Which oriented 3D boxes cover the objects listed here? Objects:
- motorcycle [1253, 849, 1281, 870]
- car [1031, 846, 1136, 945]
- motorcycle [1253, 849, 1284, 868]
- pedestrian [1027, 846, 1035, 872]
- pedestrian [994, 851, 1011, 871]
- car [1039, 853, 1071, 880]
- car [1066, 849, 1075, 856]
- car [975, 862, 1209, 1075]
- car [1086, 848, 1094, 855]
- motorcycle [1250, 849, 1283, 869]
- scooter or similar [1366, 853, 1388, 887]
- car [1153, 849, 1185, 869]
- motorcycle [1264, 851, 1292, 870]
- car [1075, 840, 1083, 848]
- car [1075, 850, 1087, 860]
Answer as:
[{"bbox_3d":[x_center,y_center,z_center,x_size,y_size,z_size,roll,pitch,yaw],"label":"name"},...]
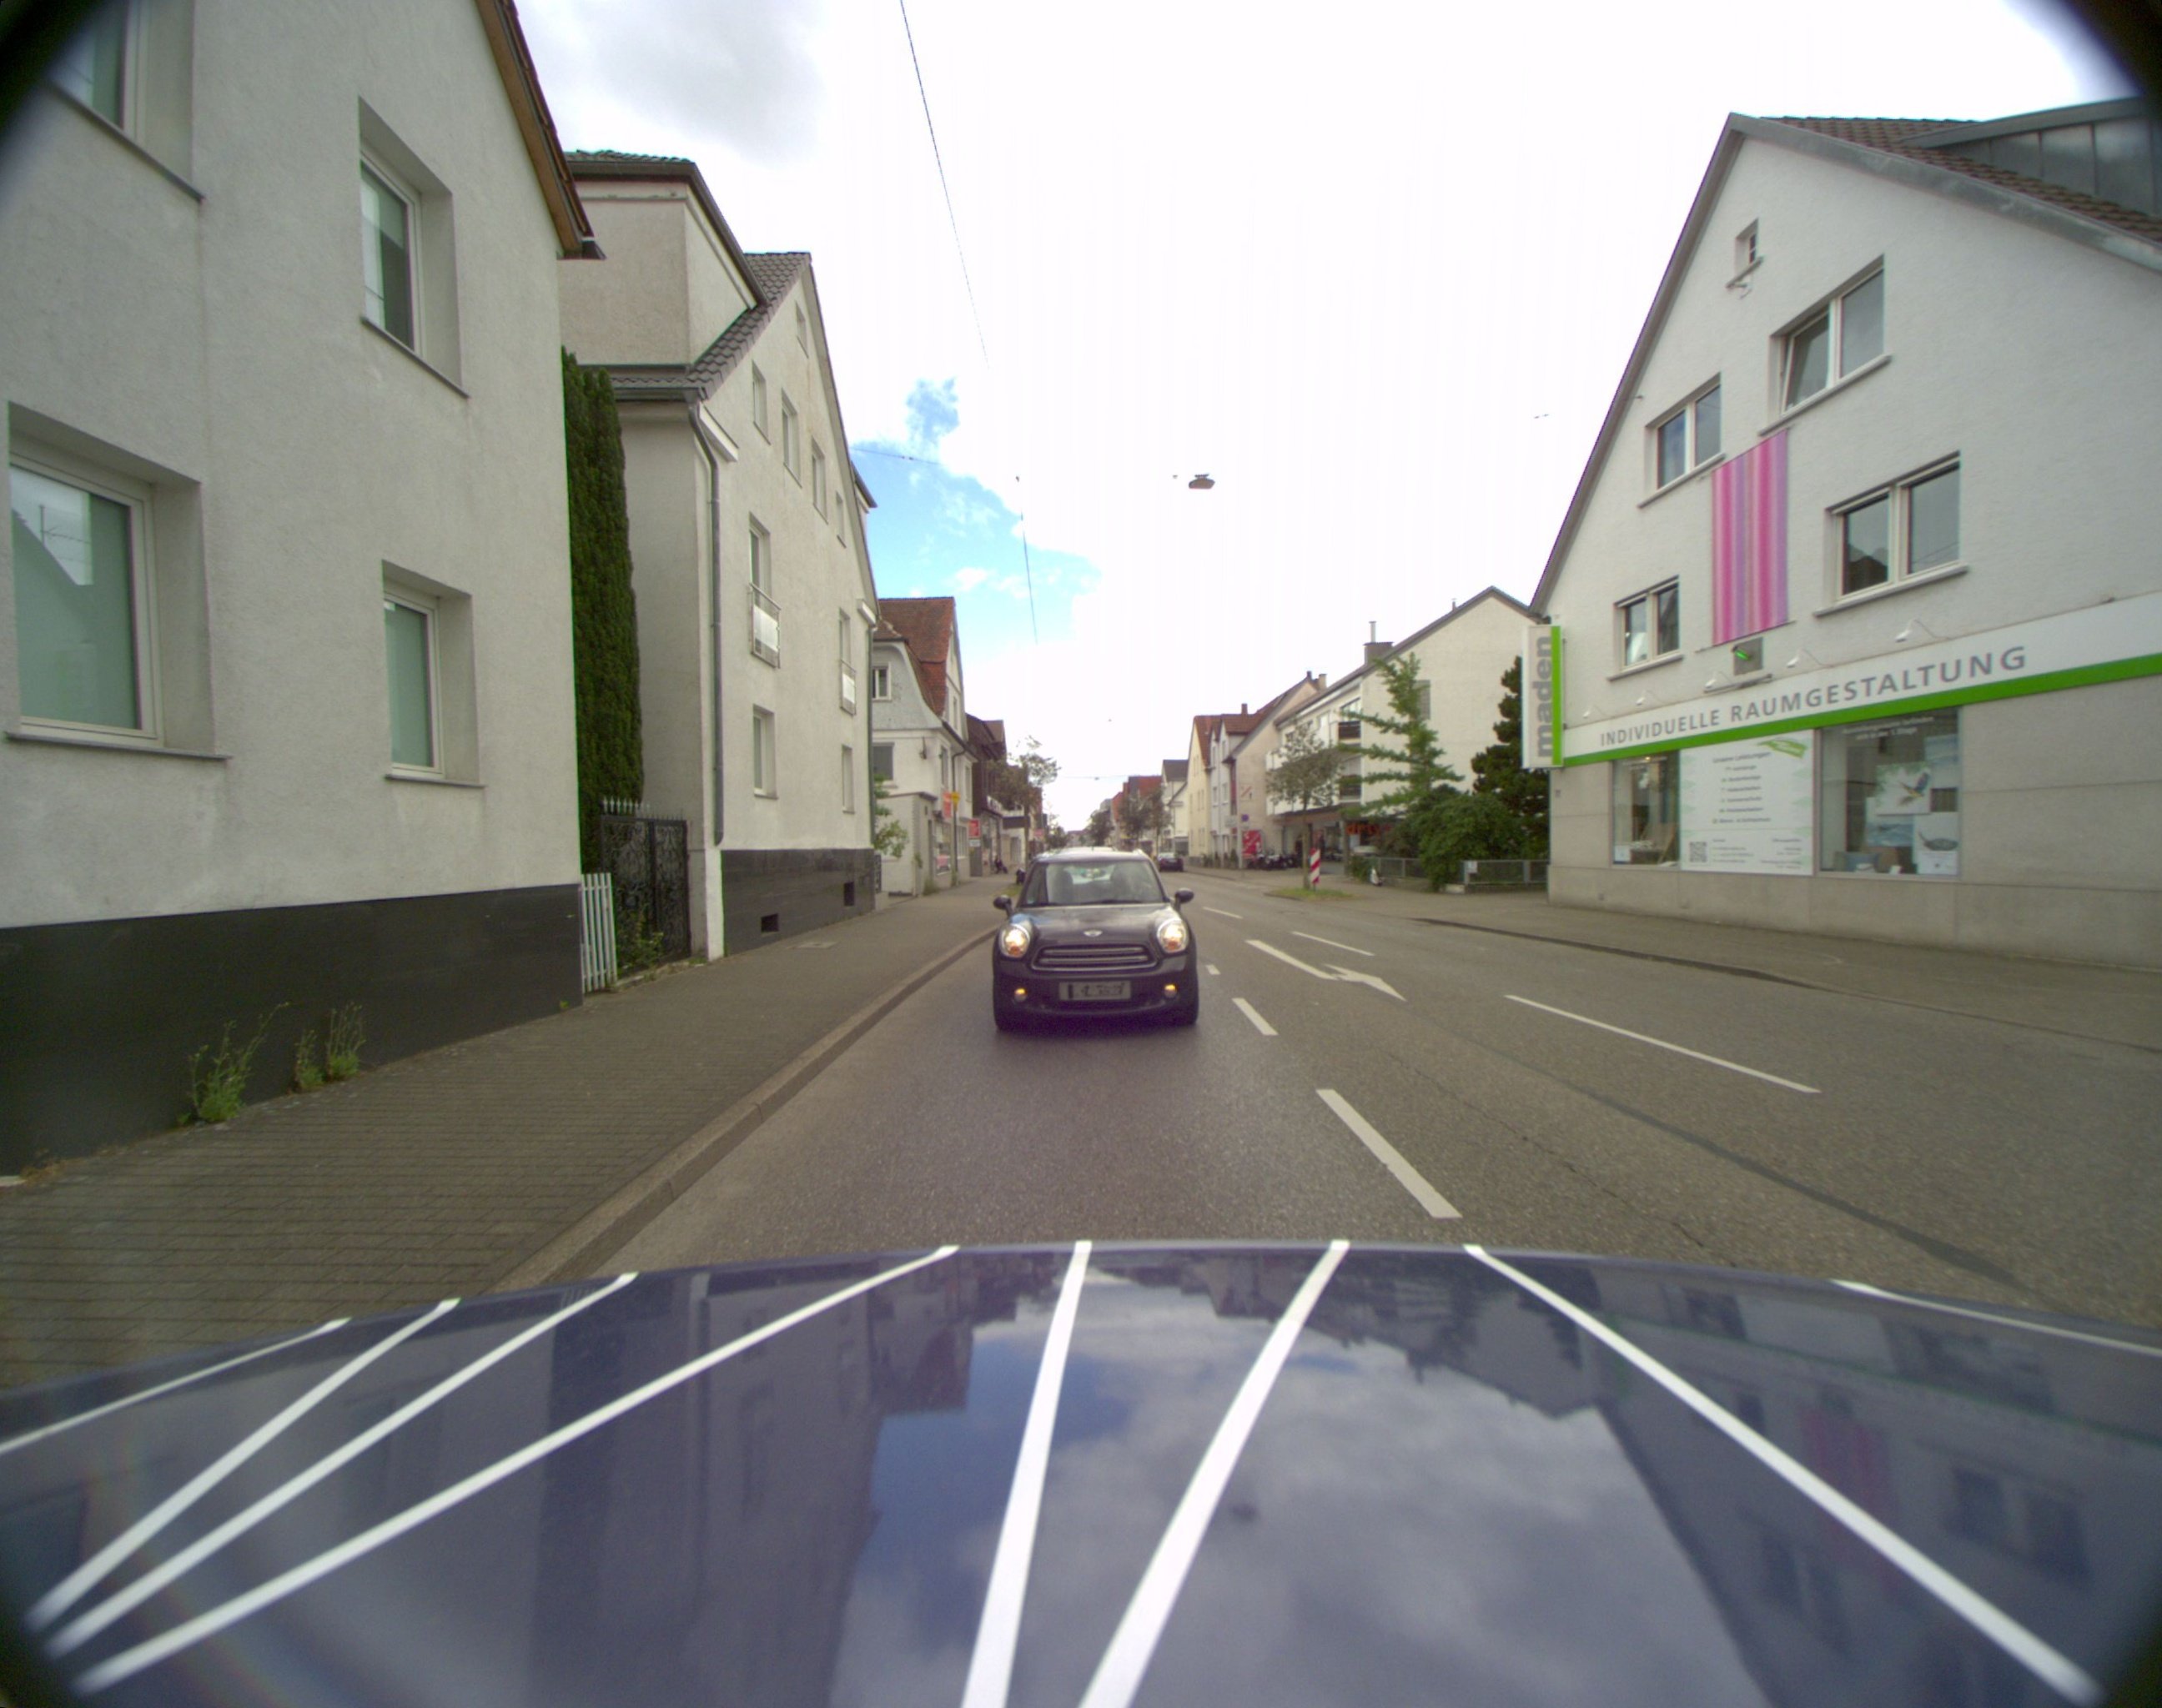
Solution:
[{"bbox_3d":[10.953,0.324,44.743,1.515,1.099,0.589,-3,1,6],"label":"motorcycle"},{"bbox_3d":[-0.005,0.714,15.829,1.811,1.556,4.615,-2,2,-1],"label":"car"},{"bbox_3d":[11.468,0.277,46.462,1.678,1.099,0.558,-3,1,0],"label":"motorcycle"},{"bbox_3d":[-3.356,0.307,51.369,0.497,1.744,0.451,-1,1,1],"label":"pedestrian"},{"bbox_3d":[-5.249,0.458,50.867,0.982,1.272,0.667,0,1,12],"label":"pedestrian"},{"bbox_3d":[-1.612,0.736,46.882,1.846,1.510,3.998,-2,1,-2],"label":"car"},{"bbox_3d":[-2.249,-0.300,160.866,1.846,1.510,3.999,-2,1,0],"label":"car"},{"bbox_3d":[0.107,0.871,7.617,1.693,1.506,4.000,-1,0,1],"label":"car"},{"bbox_3d":[1.953,-0.555,166.448,1.846,1.510,3.999,-2,1,0],"label":"car"},{"bbox_3d":[11.164,0.301,45.681,1.834,1.099,0.505,-3,1,0],"label":"motorcycle"},{"bbox_3d":[10.259,0.540,26.366,0.465,1.117,1.829,-2,0,14],"label":"scooter or similar"},{"bbox_3d":[6.346,0.351,54.936,1.634,1.404,3.998,0,0,-3],"label":"car"},{"bbox_3d":[11.382,0.349,43.944,1.429,1.017,0.525,-3,1,0],"label":"motorcycle"},{"bbox_3d":[-0.660,-2.873,222.085,1.951,2.117,4.321,0,1,-3],"label":"car"},{"bbox_3d":[0.015,0.103,124.297,1.846,1.510,3.999,-2,1,0],"label":"car"}]
